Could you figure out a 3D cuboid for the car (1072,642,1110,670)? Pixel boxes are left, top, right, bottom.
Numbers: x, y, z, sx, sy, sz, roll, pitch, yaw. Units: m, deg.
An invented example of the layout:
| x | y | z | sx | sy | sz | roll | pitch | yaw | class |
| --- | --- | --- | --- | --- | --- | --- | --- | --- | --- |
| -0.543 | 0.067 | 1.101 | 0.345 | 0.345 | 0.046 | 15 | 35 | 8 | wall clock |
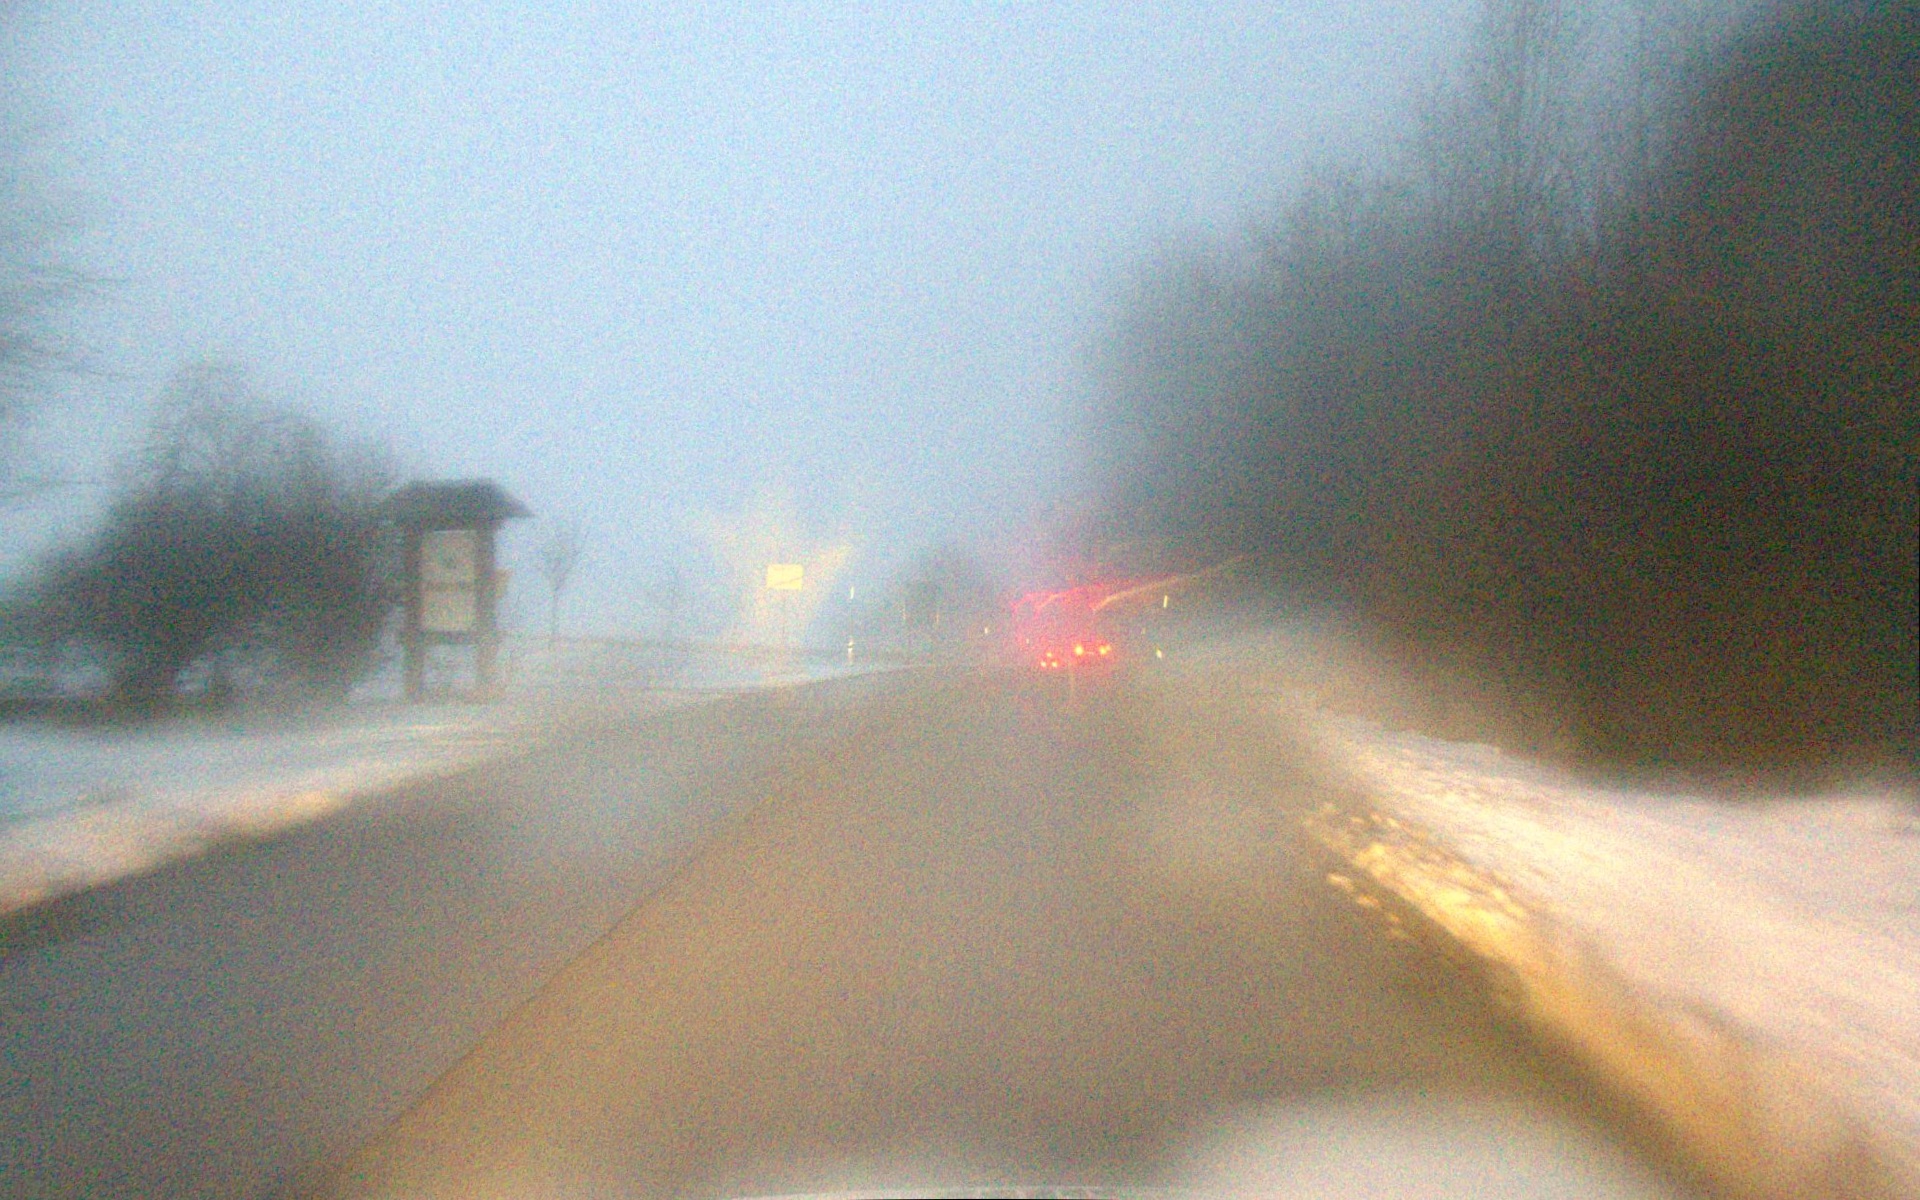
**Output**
| x | y | z | sx | sy | sz | roll | pitch | yaw | class |
| --- | --- | --- | --- | --- | --- | --- | --- | --- | --- |
| 7.122 | 3.050 | 90.085 | 1.952 | 1.445 | 4.001 | 0 | -1 | 3 | car |
